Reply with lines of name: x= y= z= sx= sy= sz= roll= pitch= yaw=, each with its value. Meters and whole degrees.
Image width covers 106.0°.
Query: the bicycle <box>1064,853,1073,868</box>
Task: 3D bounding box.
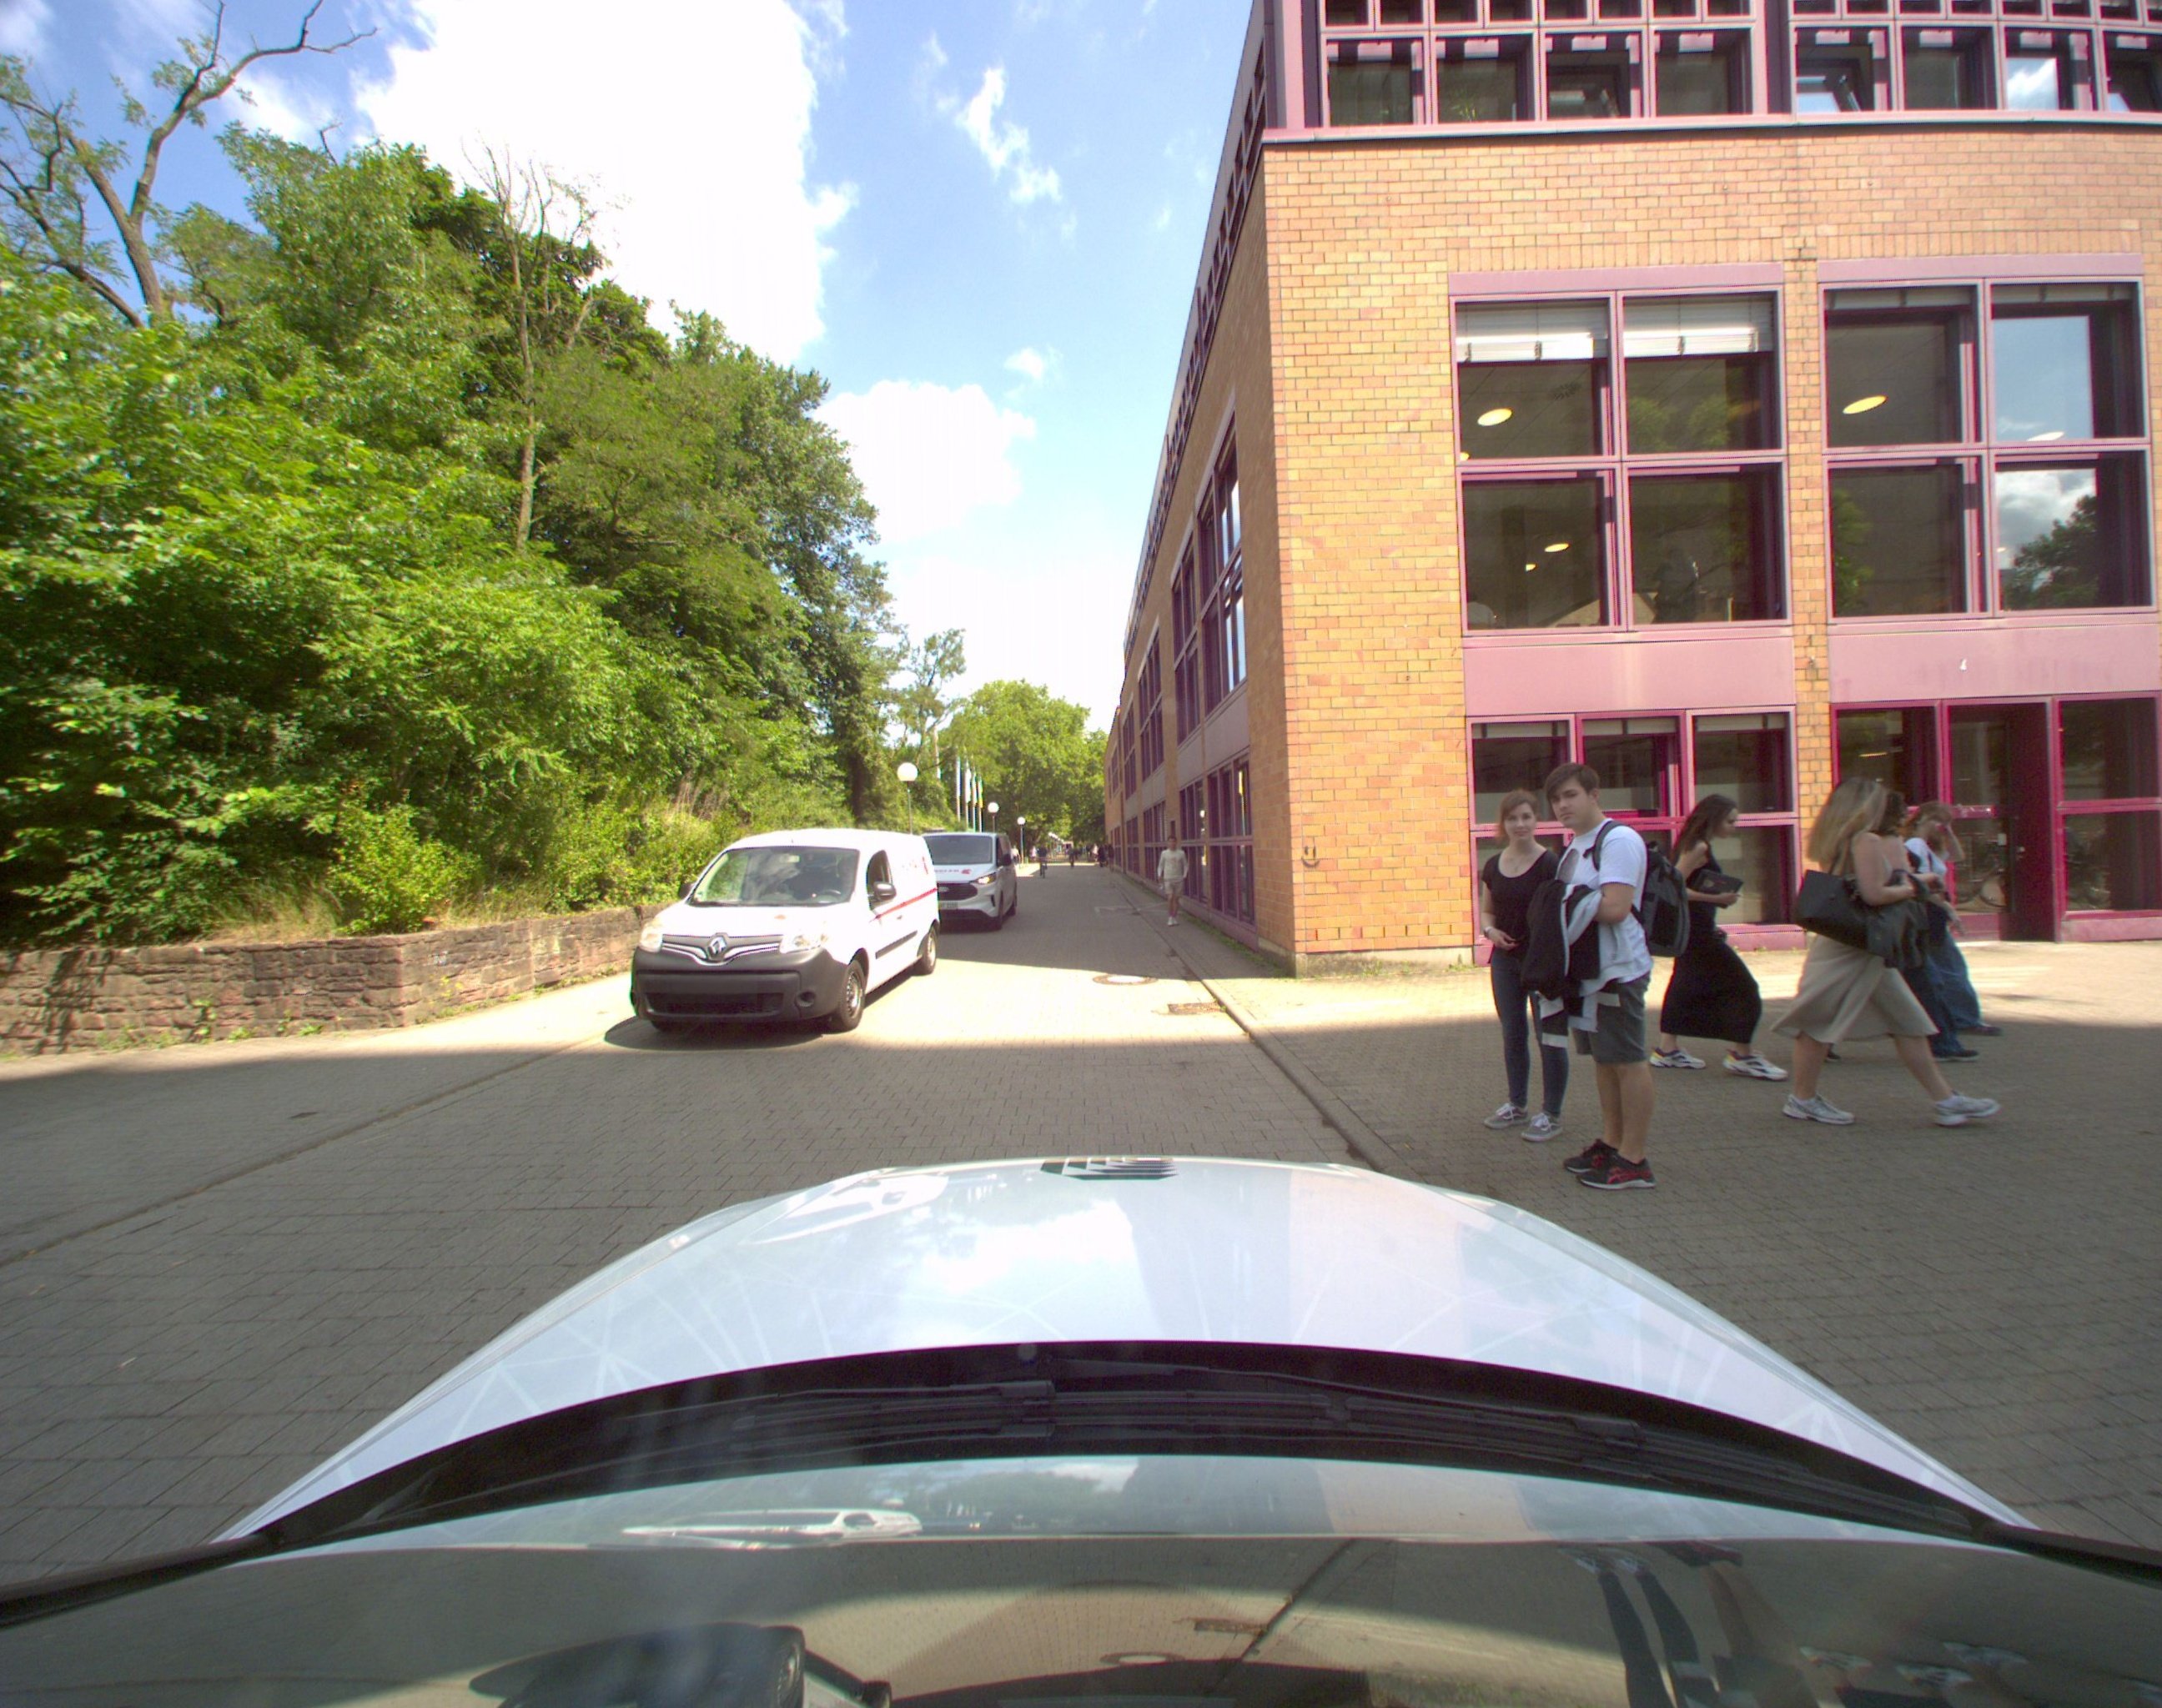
bicycle: x=-0.921 y=0.492 z=60.928 sx=0.586 sy=1.083 sz=1.905 roll=-1 pitch=0 yaw=-3

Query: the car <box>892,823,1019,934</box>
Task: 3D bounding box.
car: x=-2.480 y=0.436 z=17.420 sx=1.877 sy=1.974 sz=5.214 roll=-1 pitch=0 yaw=0

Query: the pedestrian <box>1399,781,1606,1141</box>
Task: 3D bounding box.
pedestrian: x=2.093 y=0.512 z=4.128 sx=0.693 sy=1.672 sz=0.589 roll=-3 pitch=-1 yaw=7

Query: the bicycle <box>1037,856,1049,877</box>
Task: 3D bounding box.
bicycle: x=-2.011 y=0.664 z=43.200 sx=0.586 sy=1.083 sz=1.811 roll=-1 pitch=0 yaw=-3

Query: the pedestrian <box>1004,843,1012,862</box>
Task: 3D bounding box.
pedestrian: x=-6.541 y=-0.096 z=72.719 sx=0.584 sy=1.672 sz=0.699 roll=-3 pitch=-1 yaw=1

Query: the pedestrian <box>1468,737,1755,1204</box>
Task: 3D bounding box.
pedestrian: x=2.202 y=0.464 z=3.474 sx=0.762 sy=1.794 sz=0.589 roll=-3 pitch=-1 yaw=7

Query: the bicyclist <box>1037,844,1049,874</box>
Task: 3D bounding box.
bicyclist: x=-2.013 y=0.264 z=43.169 sx=0.586 sy=1.573 sz=0.828 roll=-1 pitch=0 yaw=-4

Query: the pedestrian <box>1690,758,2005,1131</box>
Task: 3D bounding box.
pedestrian: x=3.742 y=0.429 z=4.046 sx=0.881 sy=1.672 sz=0.560 roll=-4 pitch=-1 yaw=7

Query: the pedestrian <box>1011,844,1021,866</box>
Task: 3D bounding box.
pedestrian: x=-5.055 y=0.052 z=63.322 sx=0.584 sy=1.672 sz=0.699 roll=-3 pitch=-1 yaw=1

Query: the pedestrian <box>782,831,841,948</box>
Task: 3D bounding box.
pedestrian: x=-4.414 y=0.568 z=13.383 sx=0.680 sy=1.844 sz=0.783 roll=-1 pitch=-1 yaw=0

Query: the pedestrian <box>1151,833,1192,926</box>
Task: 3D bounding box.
pedestrian: x=1.749 y=0.488 z=15.822 sx=0.680 sy=1.747 sz=0.783 roll=-1 pitch=-1 yaw=0

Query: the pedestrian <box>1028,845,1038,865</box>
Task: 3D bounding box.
pedestrian: x=-4.255 y=0.108 z=71.943 sx=0.722 sy=1.672 sz=0.748 roll=-3 pitch=-1 yaw=1

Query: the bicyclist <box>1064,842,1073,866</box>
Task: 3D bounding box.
bicyclist: x=-0.934 y=0.002 z=60.937 sx=0.586 sy=1.716 sz=0.664 roll=-1 pitch=0 yaw=-4

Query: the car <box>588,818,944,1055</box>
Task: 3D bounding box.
car: x=-2.790 y=0.618 z=8.476 sx=1.783 sy=1.761 sz=4.483 roll=-2 pitch=0 yaw=2

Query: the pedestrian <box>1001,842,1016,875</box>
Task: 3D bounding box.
pedestrian: x=-3.742 y=0.248 z=42.117 sx=0.584 sy=1.672 sz=0.699 roll=-3 pitch=-1 yaw=1

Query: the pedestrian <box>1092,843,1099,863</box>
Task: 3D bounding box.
pedestrian: x=1.455 y=-0.075 z=81.630 sx=0.651 sy=1.922 sz=0.817 roll=-3 pitch=-1 yaw=1

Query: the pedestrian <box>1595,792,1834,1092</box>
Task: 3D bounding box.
pedestrian: x=3.785 y=0.502 z=4.933 sx=0.881 sy=1.672 sz=0.644 roll=-3 pitch=1 yaw=7

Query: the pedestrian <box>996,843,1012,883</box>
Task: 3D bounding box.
pedestrian: x=-3.436 y=0.403 z=36.311 sx=0.584 sy=1.765 sz=0.699 roll=-3 pitch=-1 yaw=1

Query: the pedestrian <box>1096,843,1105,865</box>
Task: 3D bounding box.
pedestrian: x=1.489 y=-0.002 z=62.329 sx=0.584 sy=1.672 sz=0.817 roll=-3 pitch=-1 yaw=1

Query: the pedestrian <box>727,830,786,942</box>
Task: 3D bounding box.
pedestrian: x=-5.518 y=0.541 z=13.887 sx=0.680 sy=1.844 sz=0.783 roll=-1 pitch=-1 yaw=0

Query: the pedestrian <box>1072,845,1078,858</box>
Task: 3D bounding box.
pedestrian: x=-0.747 y=-0.279 z=105.558 sx=0.722 sy=1.672 sz=0.748 roll=-3 pitch=-1 yaw=1

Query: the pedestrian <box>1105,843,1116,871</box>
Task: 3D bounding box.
pedestrian: x=1.754 y=0.195 z=48.737 sx=0.584 sy=1.672 sz=0.699 roll=-3 pitch=-1 yaw=1

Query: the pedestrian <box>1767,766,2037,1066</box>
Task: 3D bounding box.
pedestrian: x=4.885 y=0.360 z=4.907 sx=0.924 sy=1.672 sz=0.589 roll=-2 pitch=-1 yaw=7

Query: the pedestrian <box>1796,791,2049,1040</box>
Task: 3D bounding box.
pedestrian: x=5.692 y=0.391 z=5.569 sx=0.881 sy=1.542 sz=0.744 roll=-4 pitch=1 yaw=7
